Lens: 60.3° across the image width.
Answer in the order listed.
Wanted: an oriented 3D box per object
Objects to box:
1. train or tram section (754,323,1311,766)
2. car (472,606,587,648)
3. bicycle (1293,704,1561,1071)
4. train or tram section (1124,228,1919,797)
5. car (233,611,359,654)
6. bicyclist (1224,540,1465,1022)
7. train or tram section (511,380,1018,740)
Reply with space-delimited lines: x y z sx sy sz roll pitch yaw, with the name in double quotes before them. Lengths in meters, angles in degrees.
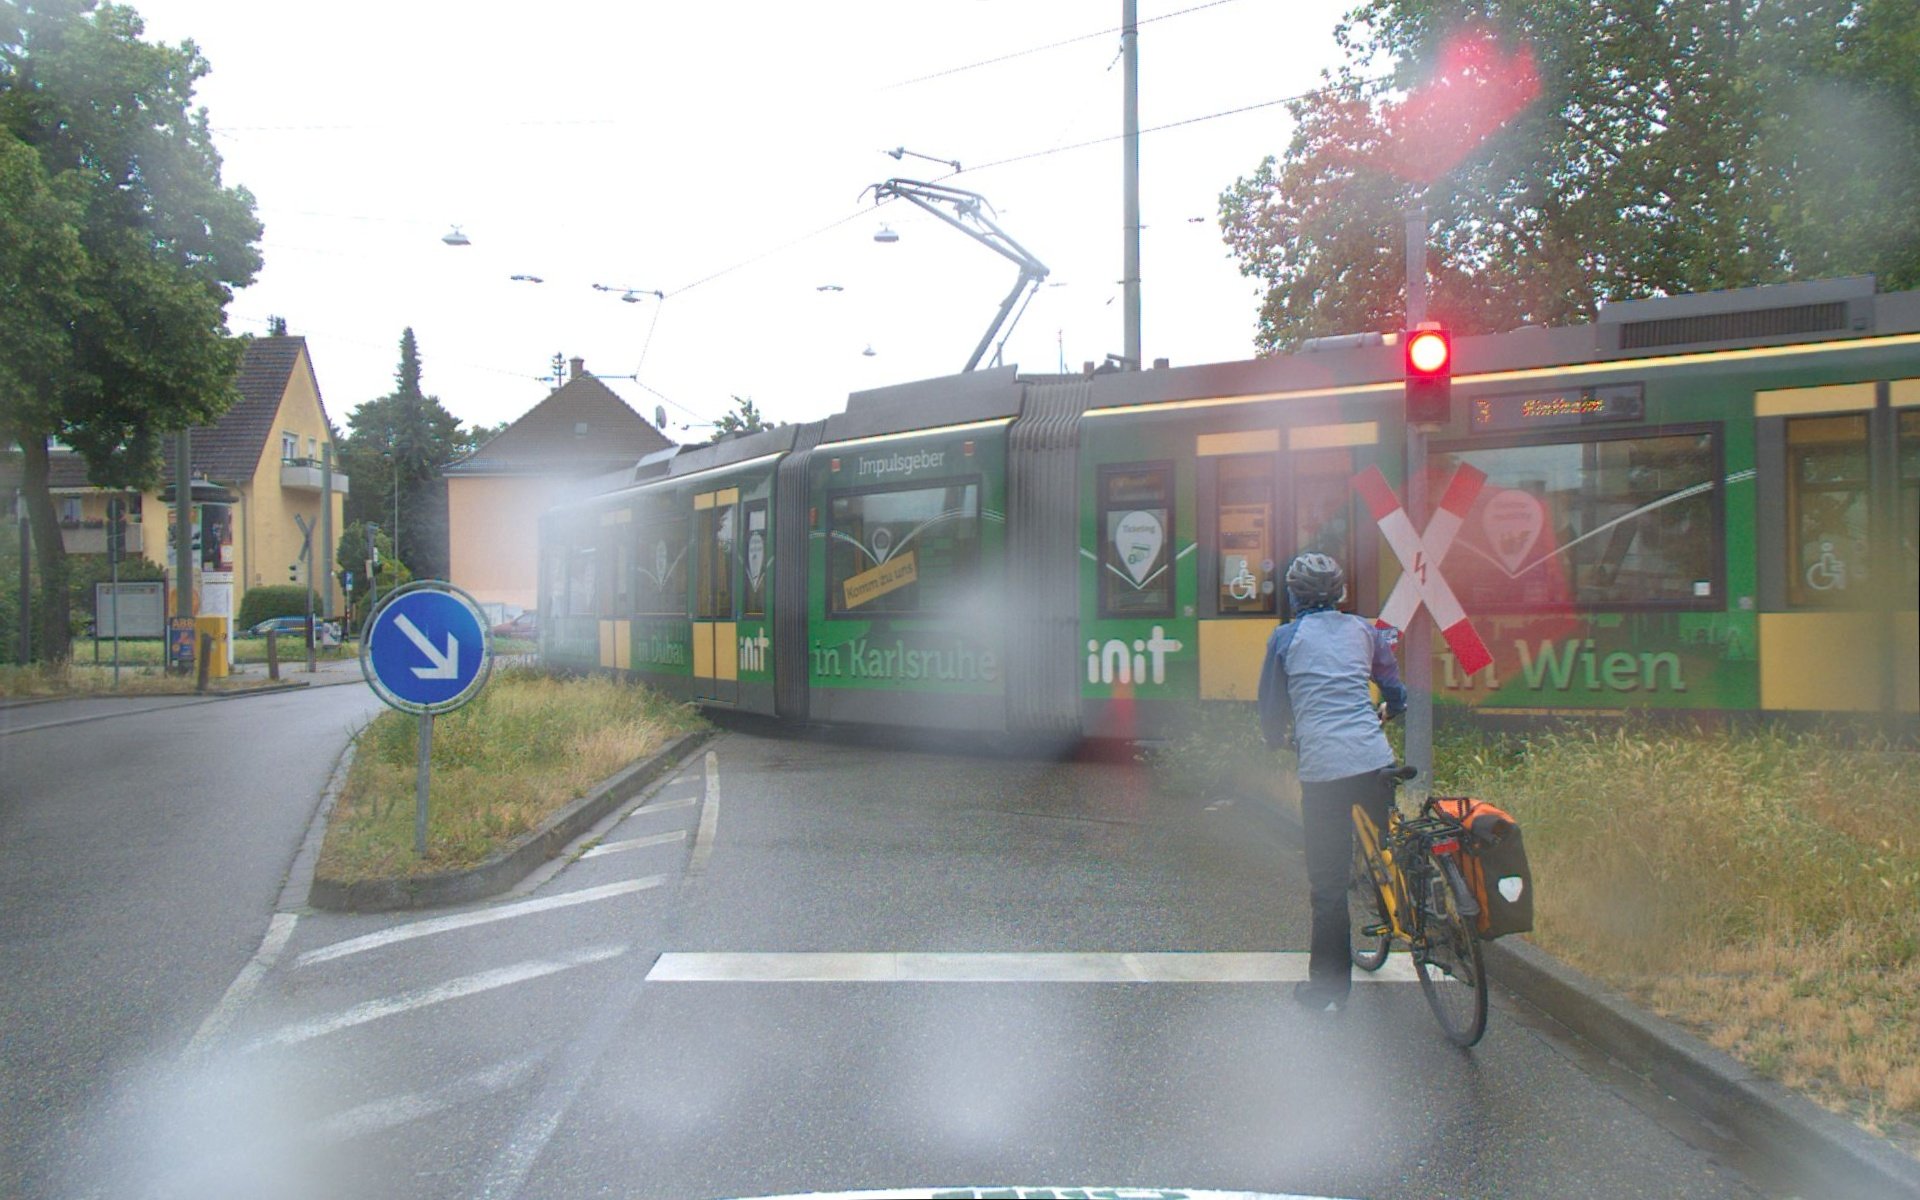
"train or tram section" 0.581 -0.441 16.260 2.749 3.615 4.906 -1 0 -44
"car" -16.184 1.015 62.335 3.911 1.482 1.831 1 0 -7
"bicycle" 1.648 0.961 6.080 0.437 1.022 1.727 -1 1 -2
"train or tram section" 7.097 -0.575 11.512 11.949 3.615 2.761 -1 0 34
"car" -24.439 1.198 60.964 3.911 1.482 1.831 1 0 -7
"bicyclist" 1.398 0.628 6.138 0.653 1.654 0.852 1 -1 -2
"train or tram section" -3.518 -0.367 23.056 2.728 3.615 13.017 -1 0 -27
